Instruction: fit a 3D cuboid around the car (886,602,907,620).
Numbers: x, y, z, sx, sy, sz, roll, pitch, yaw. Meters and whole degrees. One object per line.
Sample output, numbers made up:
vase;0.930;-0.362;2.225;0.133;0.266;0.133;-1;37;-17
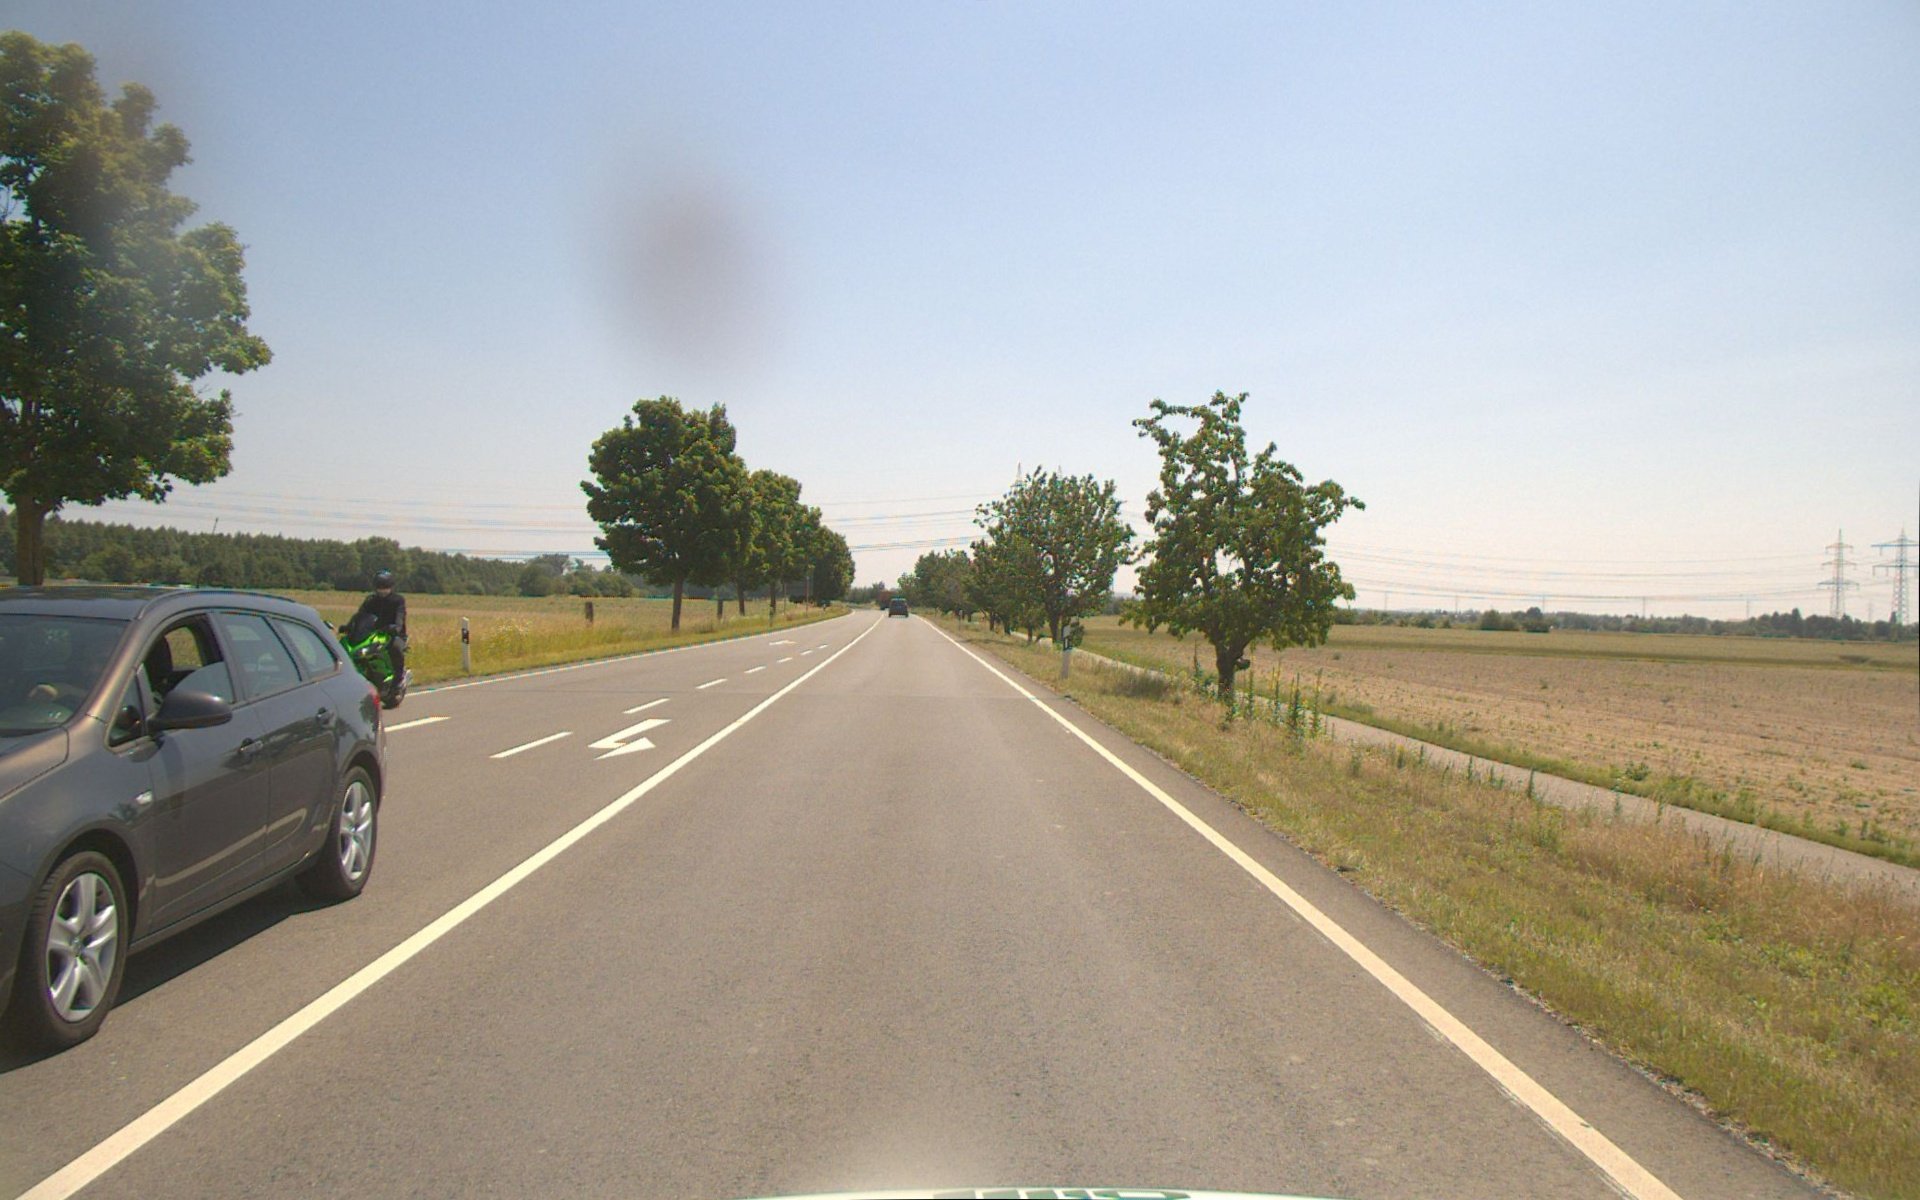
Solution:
car;-5.899;1.000;154.346;1.847;1.544;4.037;4;0;-3

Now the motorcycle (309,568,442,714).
motorcycle;-7.519;0.499;21.428;0.870;1.774;2.445;1;0;-1

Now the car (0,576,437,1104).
car;-3.666;0.672;6.847;1.704;1.499;4.616;1;0;-3

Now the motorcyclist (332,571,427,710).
motorcyclist;-7.515;0.509;21.446;0.836;1.751;1.088;1;0;-1
